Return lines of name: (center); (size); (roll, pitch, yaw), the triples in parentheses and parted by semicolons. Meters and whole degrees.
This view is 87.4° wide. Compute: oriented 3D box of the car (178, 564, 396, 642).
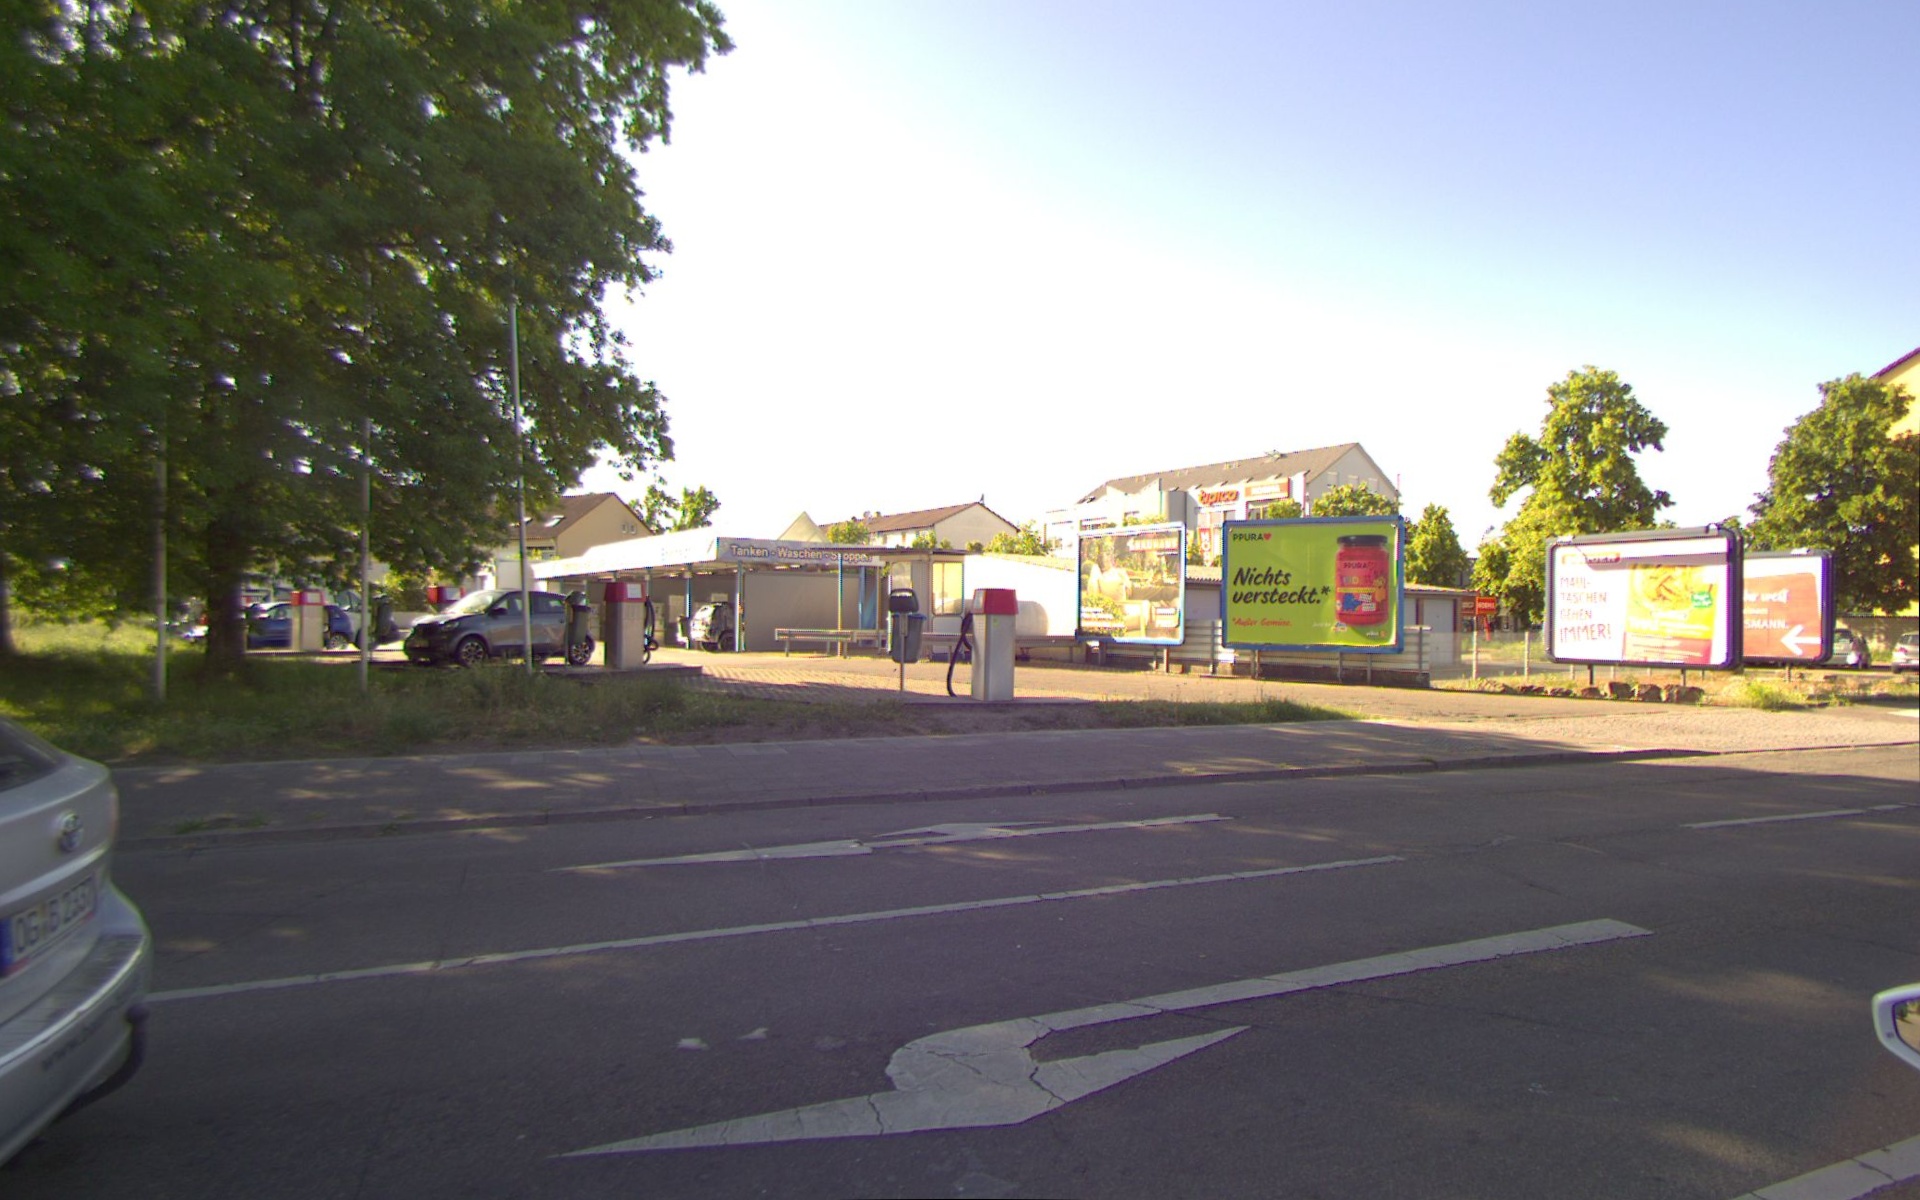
car: (-21.533, 0.167, 32.361); (5.602, 2.126, 1.979); (4, -3, -37)

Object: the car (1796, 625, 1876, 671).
car: (33.590, 1.792, 38.488); (3.848, 1.643, 1.684); (1, -1, -39)

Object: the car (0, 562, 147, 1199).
car: (-4.491, 0.630, 1.450); (4.827, 1.508, 1.830); (1, -2, -27)

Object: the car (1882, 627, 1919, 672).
car: (34.197, 1.727, 35.478); (3.844, 1.483, 1.717); (0, -1, -37)

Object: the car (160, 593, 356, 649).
car: (-19.117, 0.606, 27.537); (1.768, 1.352, 3.992); (1, -3, 31)

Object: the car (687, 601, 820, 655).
car: (-7.047, 0.977, 34.370); (3.964, 1.628, 1.979); (4, -3, -37)

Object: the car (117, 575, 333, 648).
car: (-17.742, 0.321, 24.380); (1.511, 1.531, 3.976); (0, -3, 44)

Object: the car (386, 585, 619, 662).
car: (-9.159, 0.522, 20.438); (1.729, 1.394, 3.993); (1, -3, 31)
